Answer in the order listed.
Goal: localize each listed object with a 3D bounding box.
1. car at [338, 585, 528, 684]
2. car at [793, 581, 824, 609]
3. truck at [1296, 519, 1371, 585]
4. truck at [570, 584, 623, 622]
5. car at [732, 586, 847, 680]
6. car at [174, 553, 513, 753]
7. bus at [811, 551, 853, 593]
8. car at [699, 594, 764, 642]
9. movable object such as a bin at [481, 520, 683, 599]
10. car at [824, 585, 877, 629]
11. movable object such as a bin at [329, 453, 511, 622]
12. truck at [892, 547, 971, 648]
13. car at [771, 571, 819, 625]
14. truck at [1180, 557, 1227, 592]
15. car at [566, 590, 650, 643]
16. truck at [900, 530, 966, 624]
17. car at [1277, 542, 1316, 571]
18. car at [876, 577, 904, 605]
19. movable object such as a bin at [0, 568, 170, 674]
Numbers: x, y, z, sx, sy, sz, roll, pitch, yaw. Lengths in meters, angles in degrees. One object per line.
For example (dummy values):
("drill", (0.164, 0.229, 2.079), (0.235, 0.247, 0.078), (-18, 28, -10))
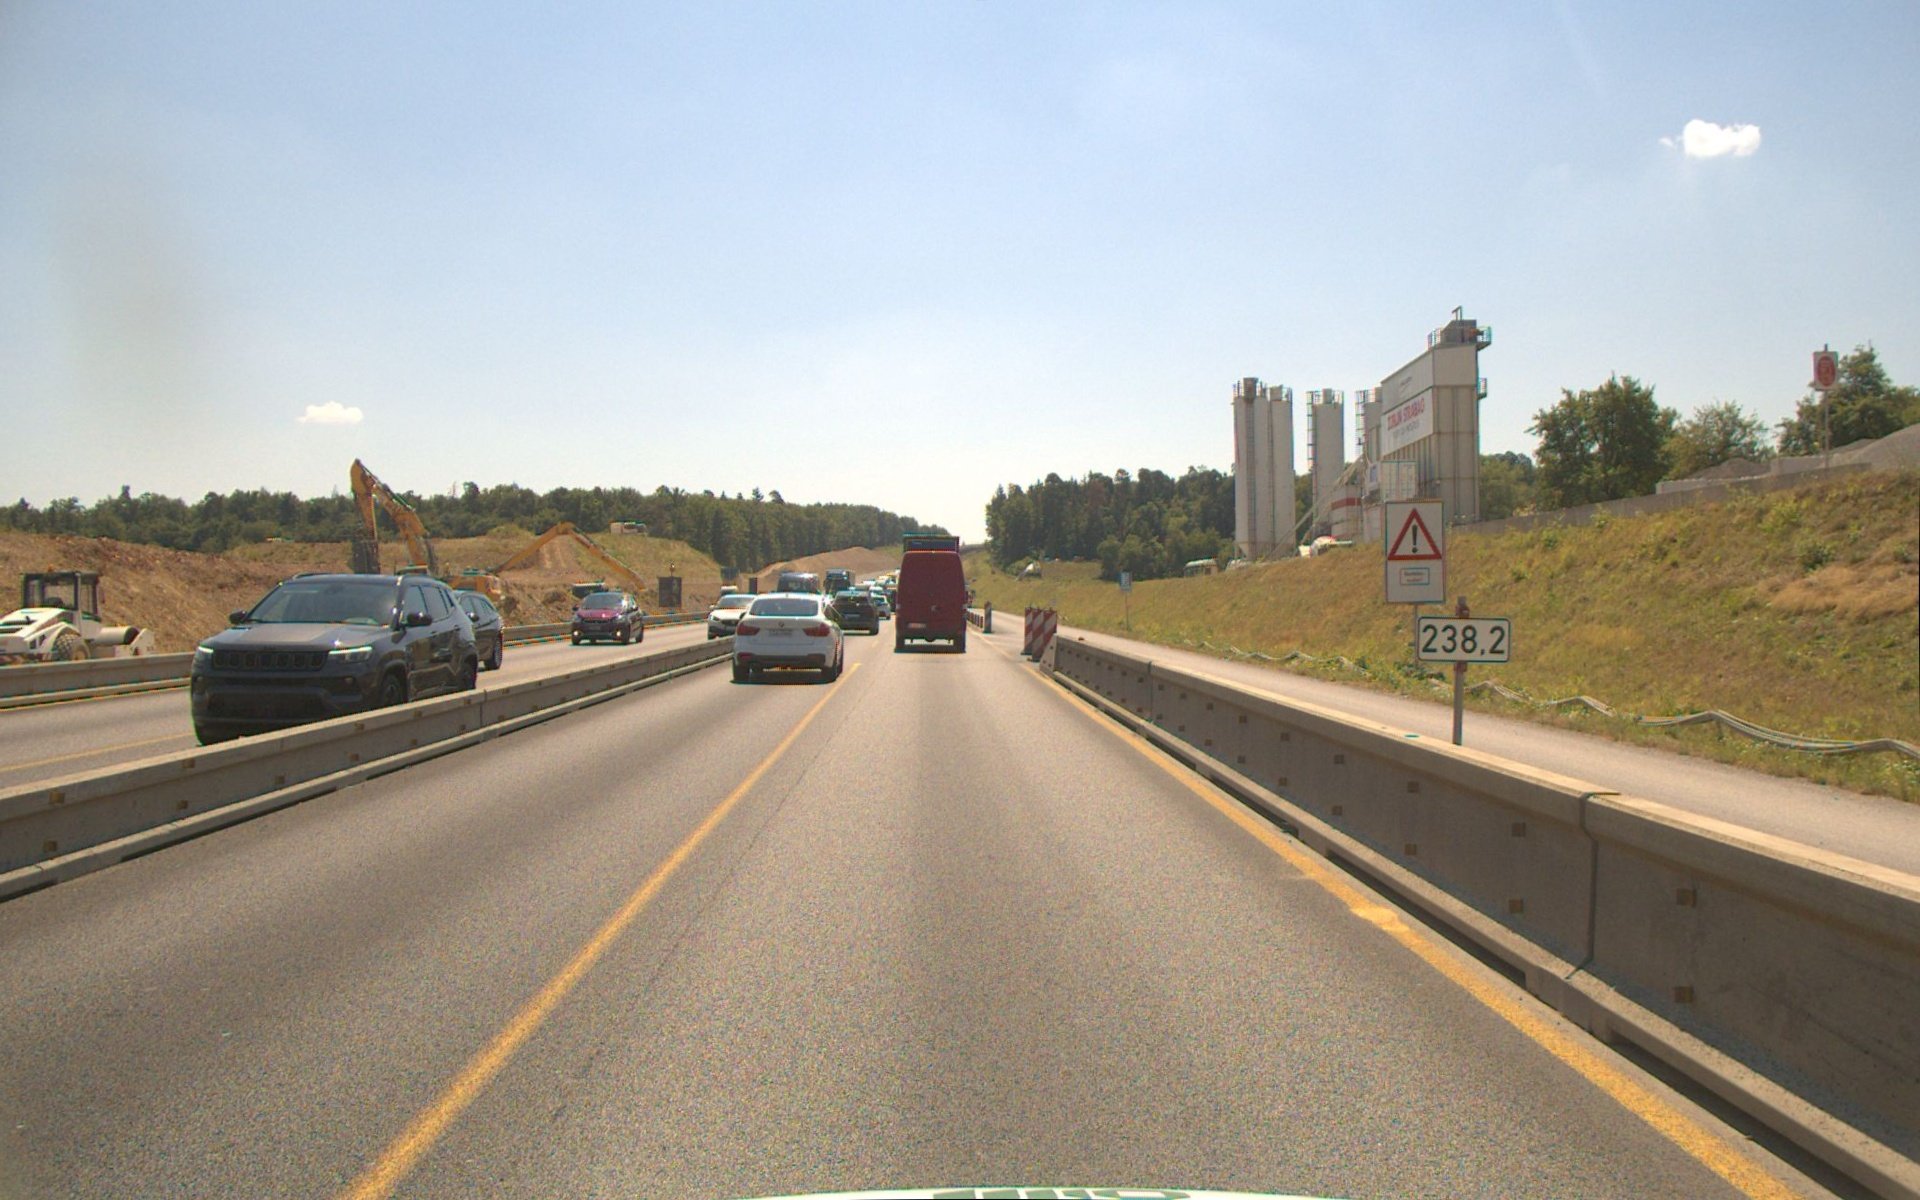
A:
("car", (-8.808, 0.525, 28.066), (1.823, 1.527, 4.575), (0, 0, -1))
("car", (-11.385, -0.390, 124.544), (1.953, 2.049, 3.999), (0, 0, -1))
("truck", (26.090, -3.274, 115.997), (3.364, 4.371, 9.931), (0, 0, 3))
("truck", (-26.965, 0.183, 122.958), (2.269, 2.663, 8.408), (0, 0, -1))
("car", (-3.037, 0.553, 30.340), (1.759, 1.561, 5.071), (1, 0, -2))
("car", (-6.194, 0.462, 17.316), (1.735, 1.772, 5.037), (0, 0, -1))
("bus", (-14.325, -3.076, 186.323), (3.863, 4.492, 17.193), (0, 0, -2))
("car", (-7.392, 0.557, 53.777), (1.644, 1.467, 4.669), (0, 0, -3))
("movable object such as a bin", (-35.914, -3.848, 157.822), (18.339, 7.357, 3.613), (0, 0, -3))
("car", (-4.094, 0.241, 62.358), (1.758, 1.561, 3.930), (0, 0, -1))
("movable object such as a bin", (-25.757, -2.945, 79.171), (7.480, 7.848, 3.445), (0, 0, 0))
("truck", (-0.790, -0.086, 47.285), (2.068, 2.679, 6.483), (0, 0, -1))
("car", (-8.019, -0.113, 80.738), (1.916, 2.511, 5.356), (0, 0, -1))
("truck", (22.233, -2.305, 150.765), (2.837, 3.167, 6.010), (0, 0, 23))
("car", (-10.346, 0.454, 48.896), (1.618, 1.467, 4.226), (0, 0, -1))
("truck", (-1.261, -1.075, 78.731), (2.954, 4.225, 8.271), (0, 0, -1))
("car", (25.629, -3.293, 126.115), (1.953, 2.049, 4.427), (0, 0, -1))
("car", (-5.243, -0.647, 124.458), (1.953, 2.049, 3.999), (0, 0, -1))
("movable object such as a bin", (-22.828, 0.486, 42.783), (1.667, 2.504, 6.743), (0, 0, -1))
